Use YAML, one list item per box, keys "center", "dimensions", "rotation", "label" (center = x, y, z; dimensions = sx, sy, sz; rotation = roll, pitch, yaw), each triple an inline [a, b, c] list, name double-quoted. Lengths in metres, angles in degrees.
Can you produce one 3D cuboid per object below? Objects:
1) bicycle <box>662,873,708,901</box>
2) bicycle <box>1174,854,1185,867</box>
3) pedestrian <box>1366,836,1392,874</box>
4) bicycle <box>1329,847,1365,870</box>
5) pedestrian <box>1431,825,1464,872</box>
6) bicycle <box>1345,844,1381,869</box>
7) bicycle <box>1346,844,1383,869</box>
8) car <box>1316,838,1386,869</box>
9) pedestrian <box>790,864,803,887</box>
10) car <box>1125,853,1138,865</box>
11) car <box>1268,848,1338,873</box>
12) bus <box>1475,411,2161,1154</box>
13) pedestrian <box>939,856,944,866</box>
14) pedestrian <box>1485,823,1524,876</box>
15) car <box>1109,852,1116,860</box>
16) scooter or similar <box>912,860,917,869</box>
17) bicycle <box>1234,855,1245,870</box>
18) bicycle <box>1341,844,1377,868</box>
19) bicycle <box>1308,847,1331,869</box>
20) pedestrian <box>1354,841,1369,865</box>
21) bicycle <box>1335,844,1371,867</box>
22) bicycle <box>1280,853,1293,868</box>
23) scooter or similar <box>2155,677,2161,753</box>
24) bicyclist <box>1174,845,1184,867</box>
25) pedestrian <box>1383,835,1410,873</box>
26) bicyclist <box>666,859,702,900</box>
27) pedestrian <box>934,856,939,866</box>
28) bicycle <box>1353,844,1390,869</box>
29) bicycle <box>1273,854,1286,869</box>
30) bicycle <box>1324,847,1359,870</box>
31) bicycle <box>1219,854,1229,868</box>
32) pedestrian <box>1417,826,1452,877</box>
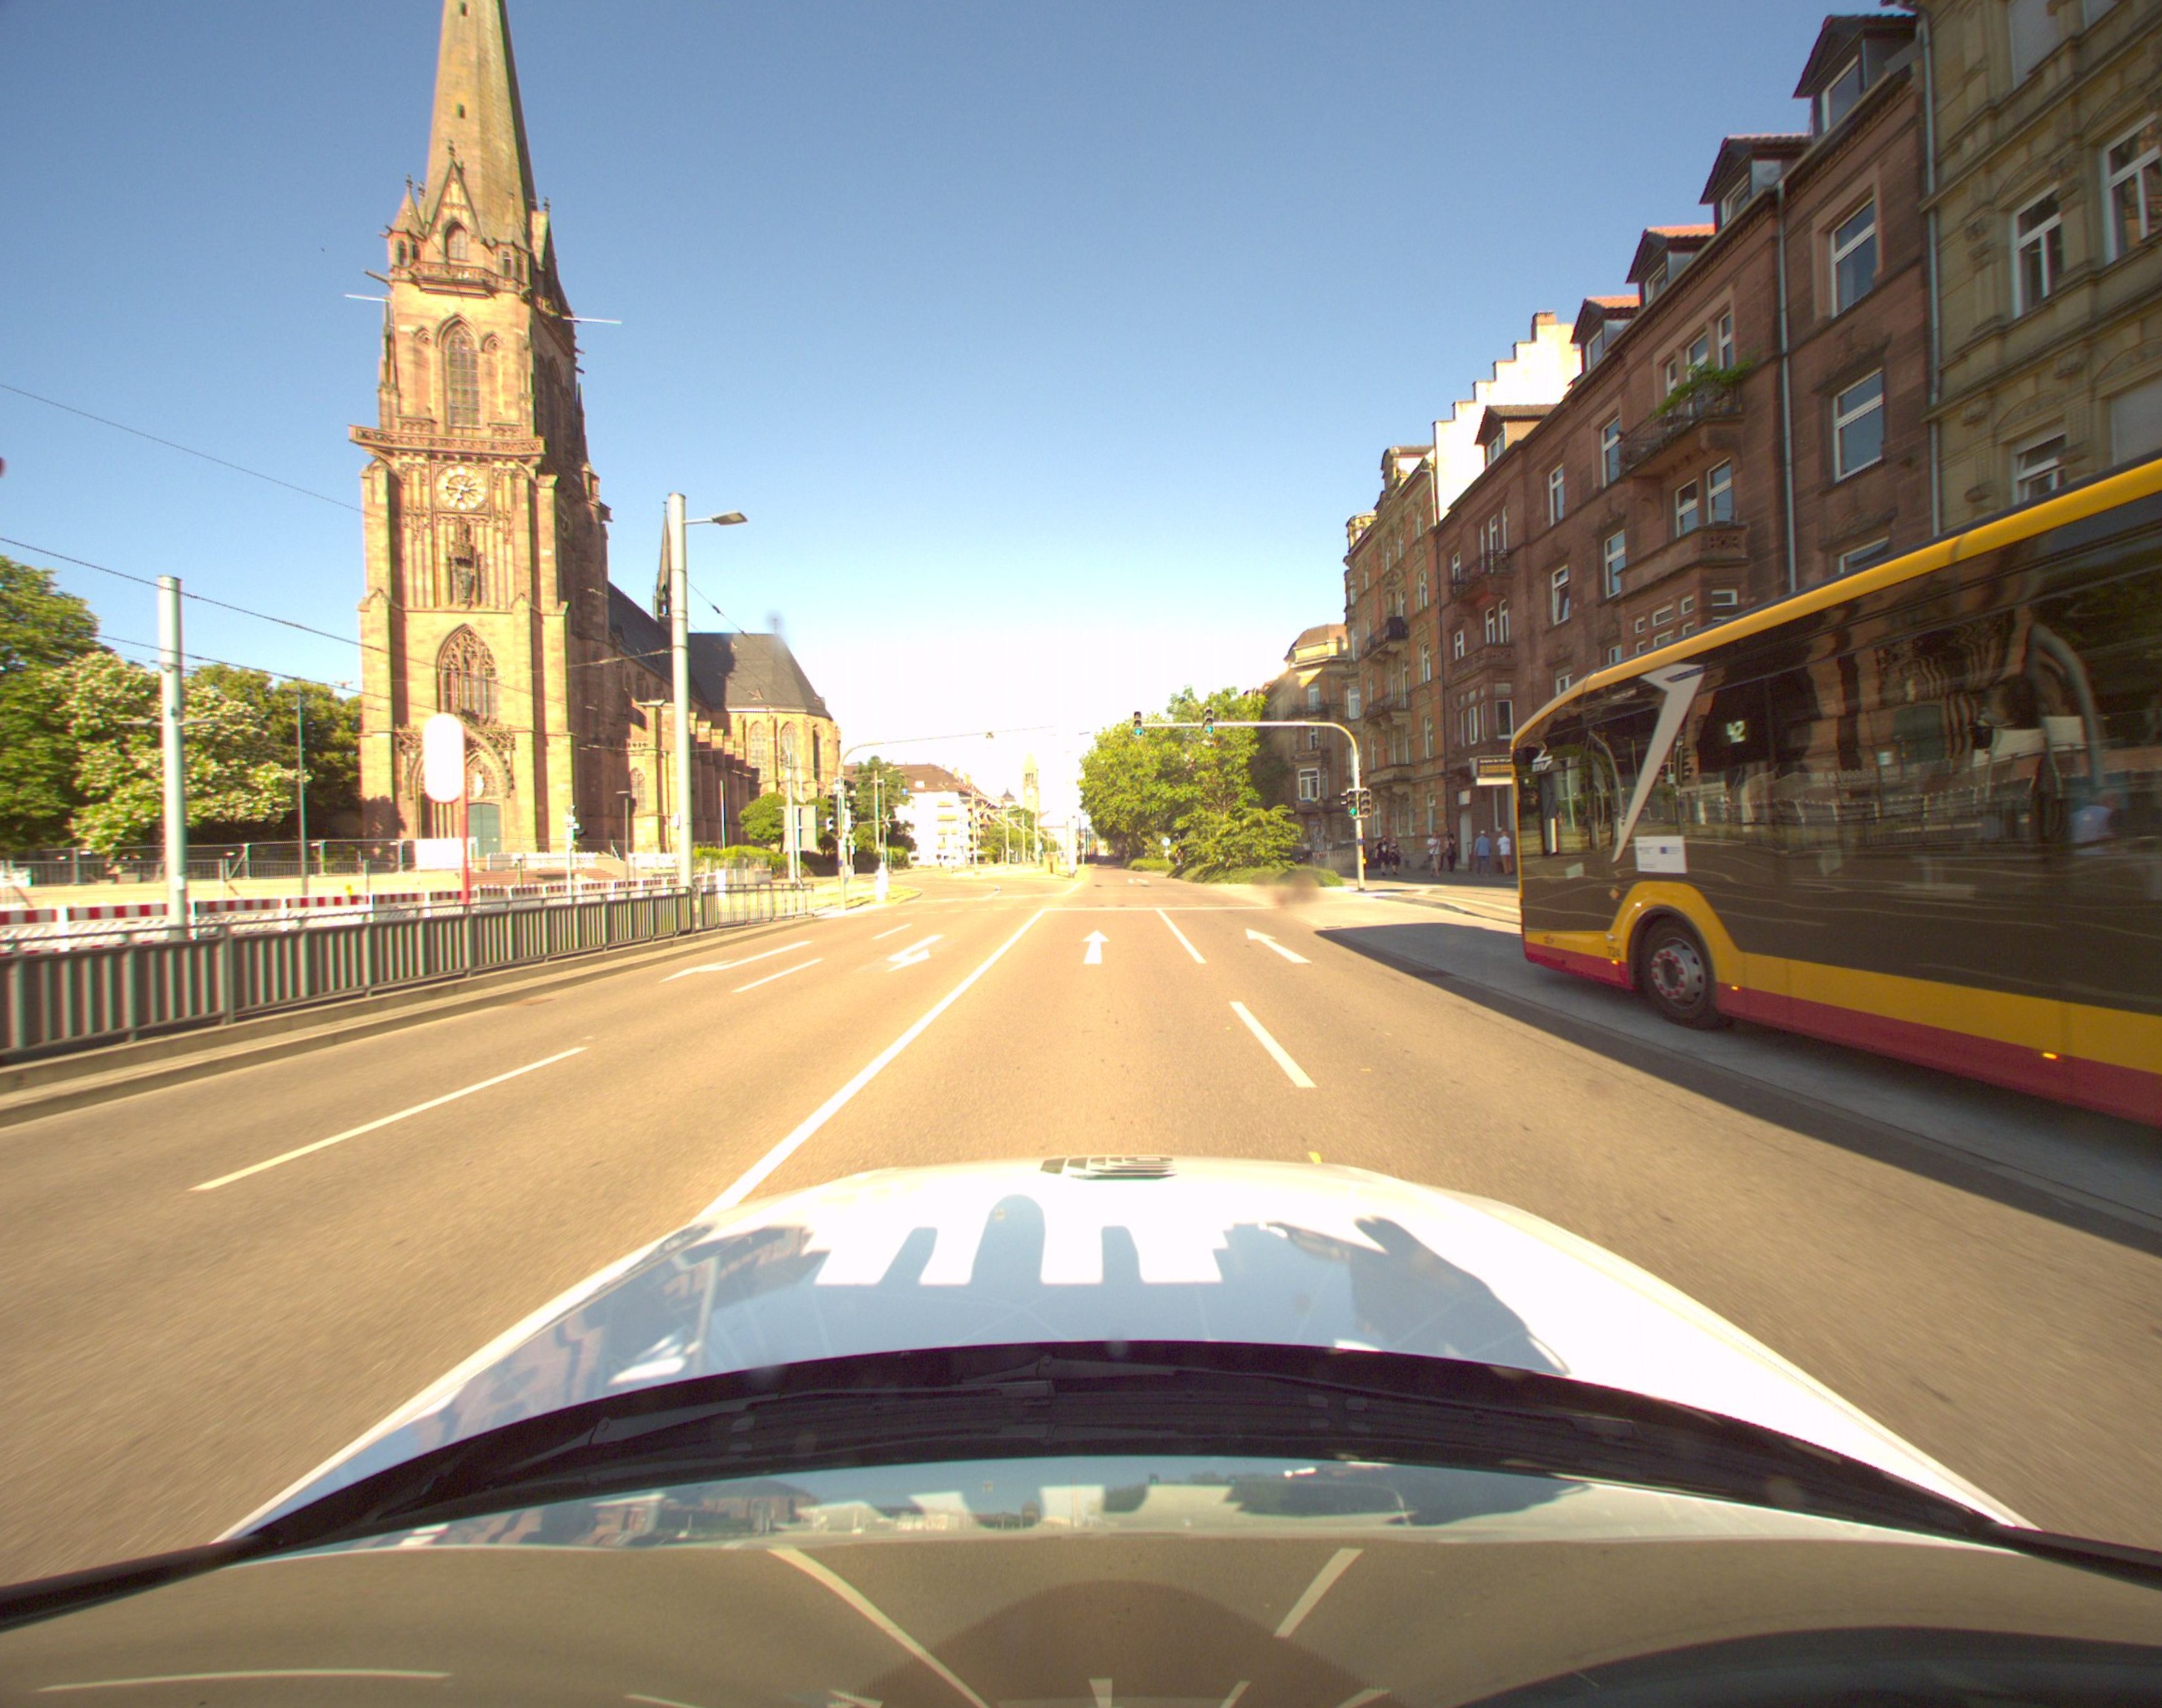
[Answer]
- center: [-19.090, 1.564, 39.372]
  dimensions: [0.961, 1.096, 2.819]
  rotation: [-6, 2, -5]
  label: "bicycle"
- center: [8.146, 0.550, 67.516]
  dimensions: [0.639, 1.048, 2.360]
  rotation: [-3, -1, 1]
  label: "bicycle"
- center: [13.337, 0.035, 36.482]
  dimensions: [0.700, 1.656, 1.137]
  rotation: [-2, 0, 2]
  label: "pedestrian"
- center: [15.350, 0.269, 46.996]
  dimensions: [1.884, 1.239, 0.489]
  rotation: [-3, -2, -11]
  label: "bicycle"
- center: [15.587, -0.215, 34.670]
  dimensions: [0.819, 1.930, 1.137]
  rotation: [-2, 0, 2]
  label: "pedestrian"
- center: [15.714, 0.137, 45.378]
  dimensions: [1.884, 1.239, 0.489]
  rotation: [-3, -2, -11]
  label: "bicycle"
- center: [15.579, 0.127, 44.763]
  dimensions: [1.884, 1.239, 0.489]
  rotation: [-3, -2, -11]
  label: "bicycle"
- center: [19.913, -0.056, 60.158]
  dimensions: [4.562, 2.124, 1.775]
  rotation: [-2, 2, 0]
  label: "car"
- center: [-23.480, 1.768, 67.200]
  dimensions: [0.726, 1.773, 0.863]
  rotation: [-3, 2, -1]
  label: "pedestrian"
- center: [6.798, 0.631, 109.659]
  dimensions: [1.637, 1.511, 4.185]
  rotation: [-3, 0, 2]
  label: "car"
- center: [14.947, 0.435, 54.918]
  dimensions: [4.235, 1.415, 1.814]
  rotation: [-2, 2, 1]
  label: "car"
- center: [5.989, -0.350, 3.579]
  dimensions: [2.705, 3.181, 12.547]
  rotation: [-3, 0, 2]
  label: "bus"
- center: [-23.651, 1.191, 137.765]
  dimensions: [0.587, 1.467, 0.917]
  rotation: [-3, 2, 2]
  label: "pedestrian"
- center: [15.946, -0.161, 30.672]
  dimensions: [0.819, 1.930, 1.137]
  rotation: [-2, 0, 2]
  label: "pedestrian"
- center: [8.548, 0.473, 219.281]
  dimensions: [1.985, 2.107, 4.002]
  rotation: [0, -1, 2]
  label: "car"
- center: [-26.258, 1.691, 128.328]
  dimensions: [0.400, 1.261, 1.231]
  rotation: [-3, 3, 2]
  label: "scooter or similar"
- center: [12.084, 0.625, 62.073]
  dimensions: [0.516, 1.047, 1.821]
  rotation: [-3, 3, 1]
  label: "bicycle"
- center: [15.701, 0.109, 45.966]
  dimensions: [1.884, 1.239, 0.489]
  rotation: [-3, -2, -11]
  label: "bicycle"
- center: [14.252, 0.248, 48.705]
  dimensions: [0.488, 1.239, 1.884]
  rotation: [-3, -1, -7]
  label: "bicycle"
- center: [18.248, -0.081, 52.954]
  dimensions: [0.694, 1.534, 0.665]
  rotation: [-2, 0, 43]
  label: "pedestrian"
- center: [15.503, 0.080, 46.446]
  dimensions: [1.884, 1.239, 0.489]
  rotation: [-3, -2, -11]
  label: "bicycle"
- center: [15.531, 0.479, 61.687]
  dimensions: [0.516, 1.047, 1.821]
  rotation: [-3, 3, 1]
  label: "bicycle"
- center: [8.857, -0.798, 5.840]
  dimensions: [0.431, 1.249, 1.291]
  rotation: [-3, -1, -7]
  label: "scooter or similar"
- center: [8.134, 0.182, 67.531]
  dimensions: [0.639, 1.815, 1.052]
  rotation: [-3, -1, 1]
  label: "bicyclist"
- center: [14.104, -0.003, 36.422]
  dimensions: [0.700, 1.656, 1.137]
  rotation: [-2, 0, 2]
  label: "pedestrian"
- center: [-19.122, 1.217, 39.279]
  dimensions: [0.961, 1.808, 1.317]
  rotation: [-6, 2, -5]
  label: "bicyclist"
- center: [-24.438, 1.173, 137.777]
  dimensions: [0.641, 1.598, 0.899]
  rotation: [-3, 2, 2]
  label: "pedestrian"
- center: [15.775, 0.142, 44.220]
  dimensions: [1.884, 1.239, 0.489]
  rotation: [-3, -2, -11]
  label: "bicycle"
- center: [14.879, 0.546, 61.009]
  dimensions: [0.516, 1.047, 1.821]
  rotation: [-3, 3, 1]
  label: "bicycle"
- center: [15.223, 0.247, 47.585]
  dimensions: [1.884, 1.239, 0.489]
  rotation: [-3, -2, -11]
  label: "bicycle"
- center: [11.632, 0.579, 66.314]
  dimensions: [0.523, 0.988, 1.722]
  rotation: [-3, 3, 0]
  label: "bicycle"
- center: [13.813, -0.104, 31.840]
  dimensions: [0.819, 1.930, 1.137]
  rotation: [-2, 0, 1]
  label: "pedestrian"
